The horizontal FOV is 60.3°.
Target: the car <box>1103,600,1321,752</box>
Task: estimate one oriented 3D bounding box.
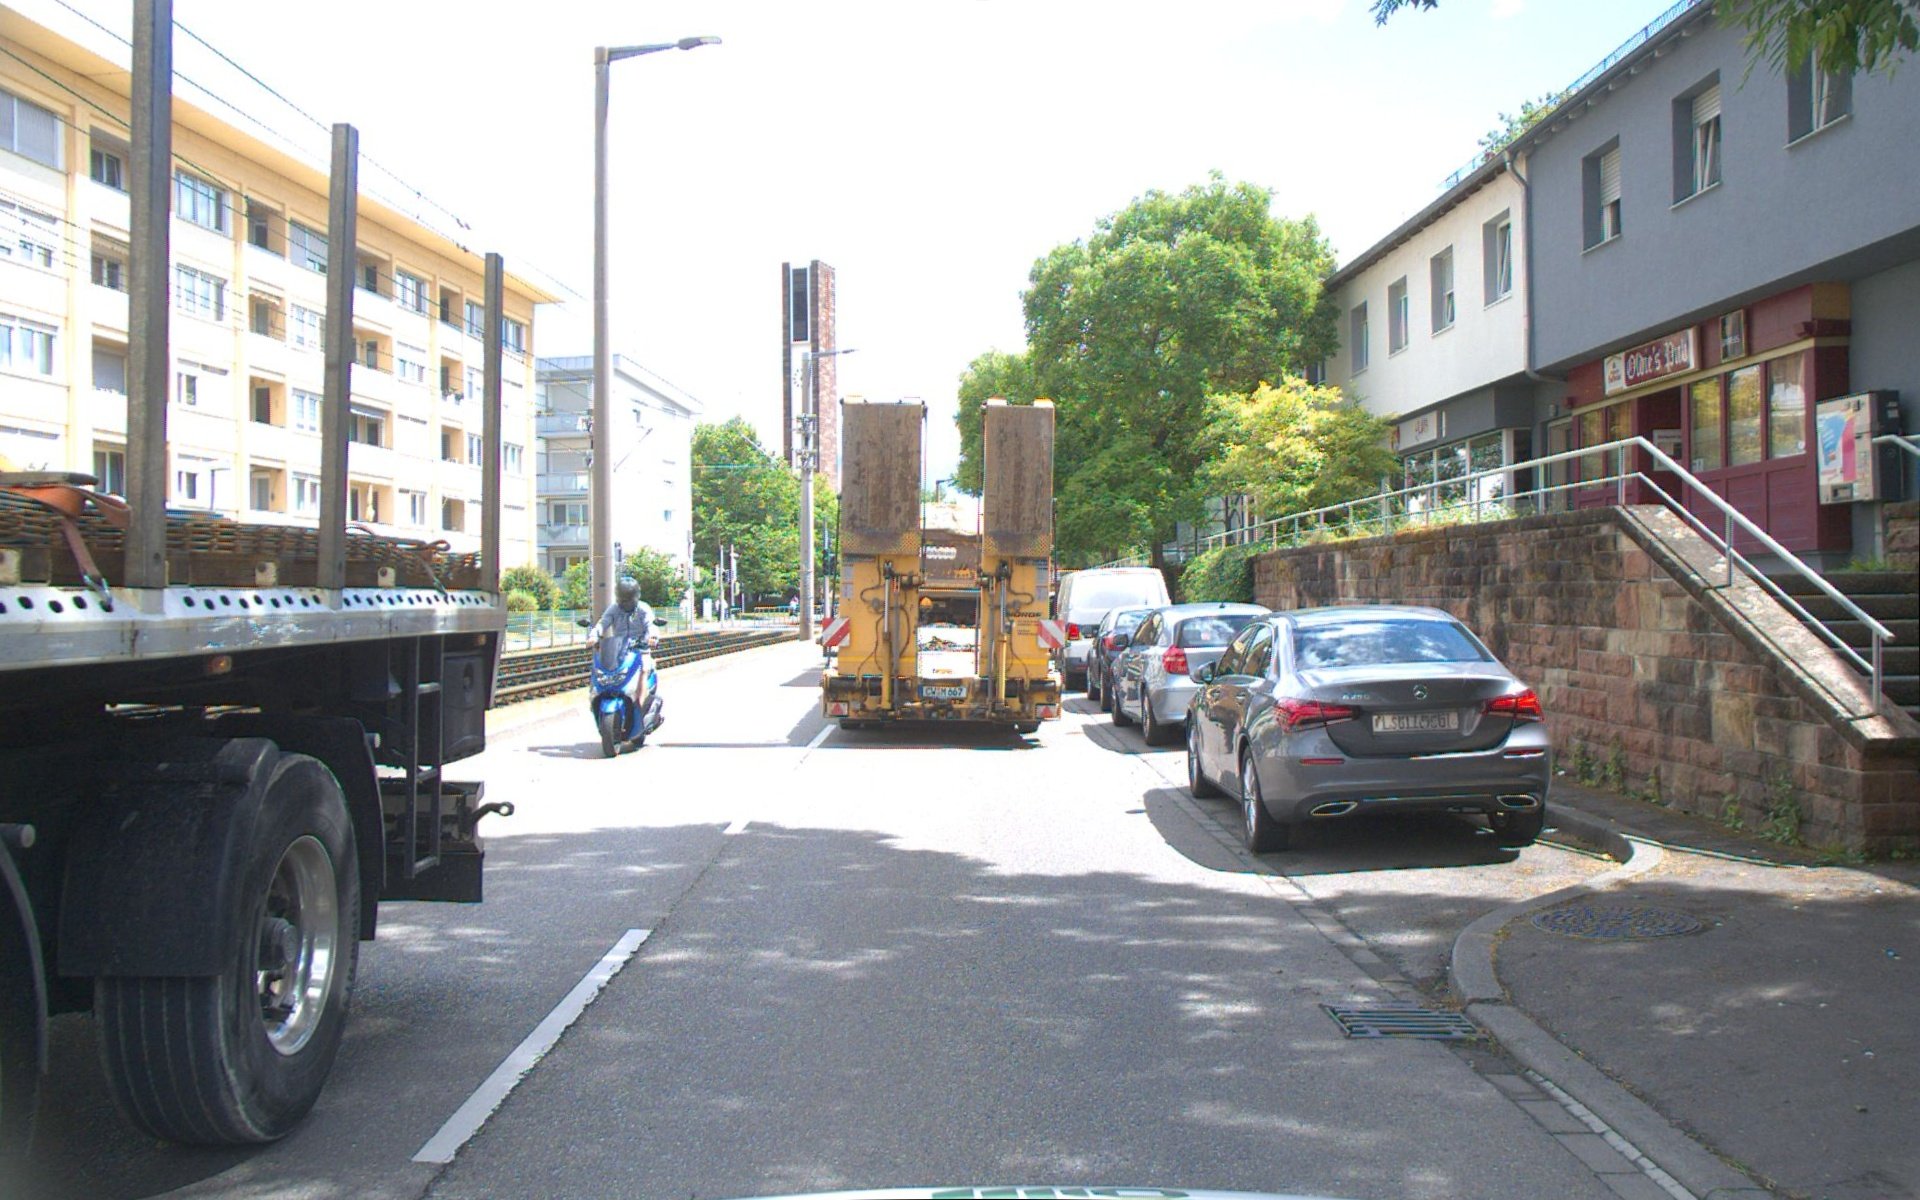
[{"bbox_3d":[2.684,0.751,18.460,1.656,1.430,4.067,-1,0,-2],"label":"car"}]

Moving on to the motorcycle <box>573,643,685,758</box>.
[{"bbox_3d":[-3.160,0.934,15.934,0.732,0.970,1.832,1,0,-1],"label":"motorcycle"}]

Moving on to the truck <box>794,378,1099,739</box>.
[{"bbox_3d":[-0.319,-0.481,22.918,3.061,3.626,12.455,0,0,-2],"label":"truck"}]

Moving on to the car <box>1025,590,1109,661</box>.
[{"bbox_3d":[2.592,0.582,40.973,1.763,1.651,4.291,0,0,-1],"label":"car"}]

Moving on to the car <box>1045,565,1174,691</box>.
[{"bbox_3d":[2.539,0.434,29.059,1.763,2.003,4.589,-1,0,-1],"label":"car"}]

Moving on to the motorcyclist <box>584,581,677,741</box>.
[{"bbox_3d":[-3.172,0.569,15.982,0.732,1.492,0.887,0,0,-1],"label":"motorcyclist"}]

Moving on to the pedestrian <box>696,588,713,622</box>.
[{"bbox_3d":[-15.452,0.273,100.016,0.936,2.049,1.174,0,0,-15],"label":"pedestrian"}]

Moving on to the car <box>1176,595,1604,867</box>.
[{"bbox_3d":[2.657,0.716,11.327,1.798,1.430,4.414,-1,0,1],"label":"car"}]

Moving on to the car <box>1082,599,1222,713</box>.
[{"bbox_3d":[2.666,0.735,23.644,1.587,1.430,3.650,-1,0,1],"label":"car"}]
